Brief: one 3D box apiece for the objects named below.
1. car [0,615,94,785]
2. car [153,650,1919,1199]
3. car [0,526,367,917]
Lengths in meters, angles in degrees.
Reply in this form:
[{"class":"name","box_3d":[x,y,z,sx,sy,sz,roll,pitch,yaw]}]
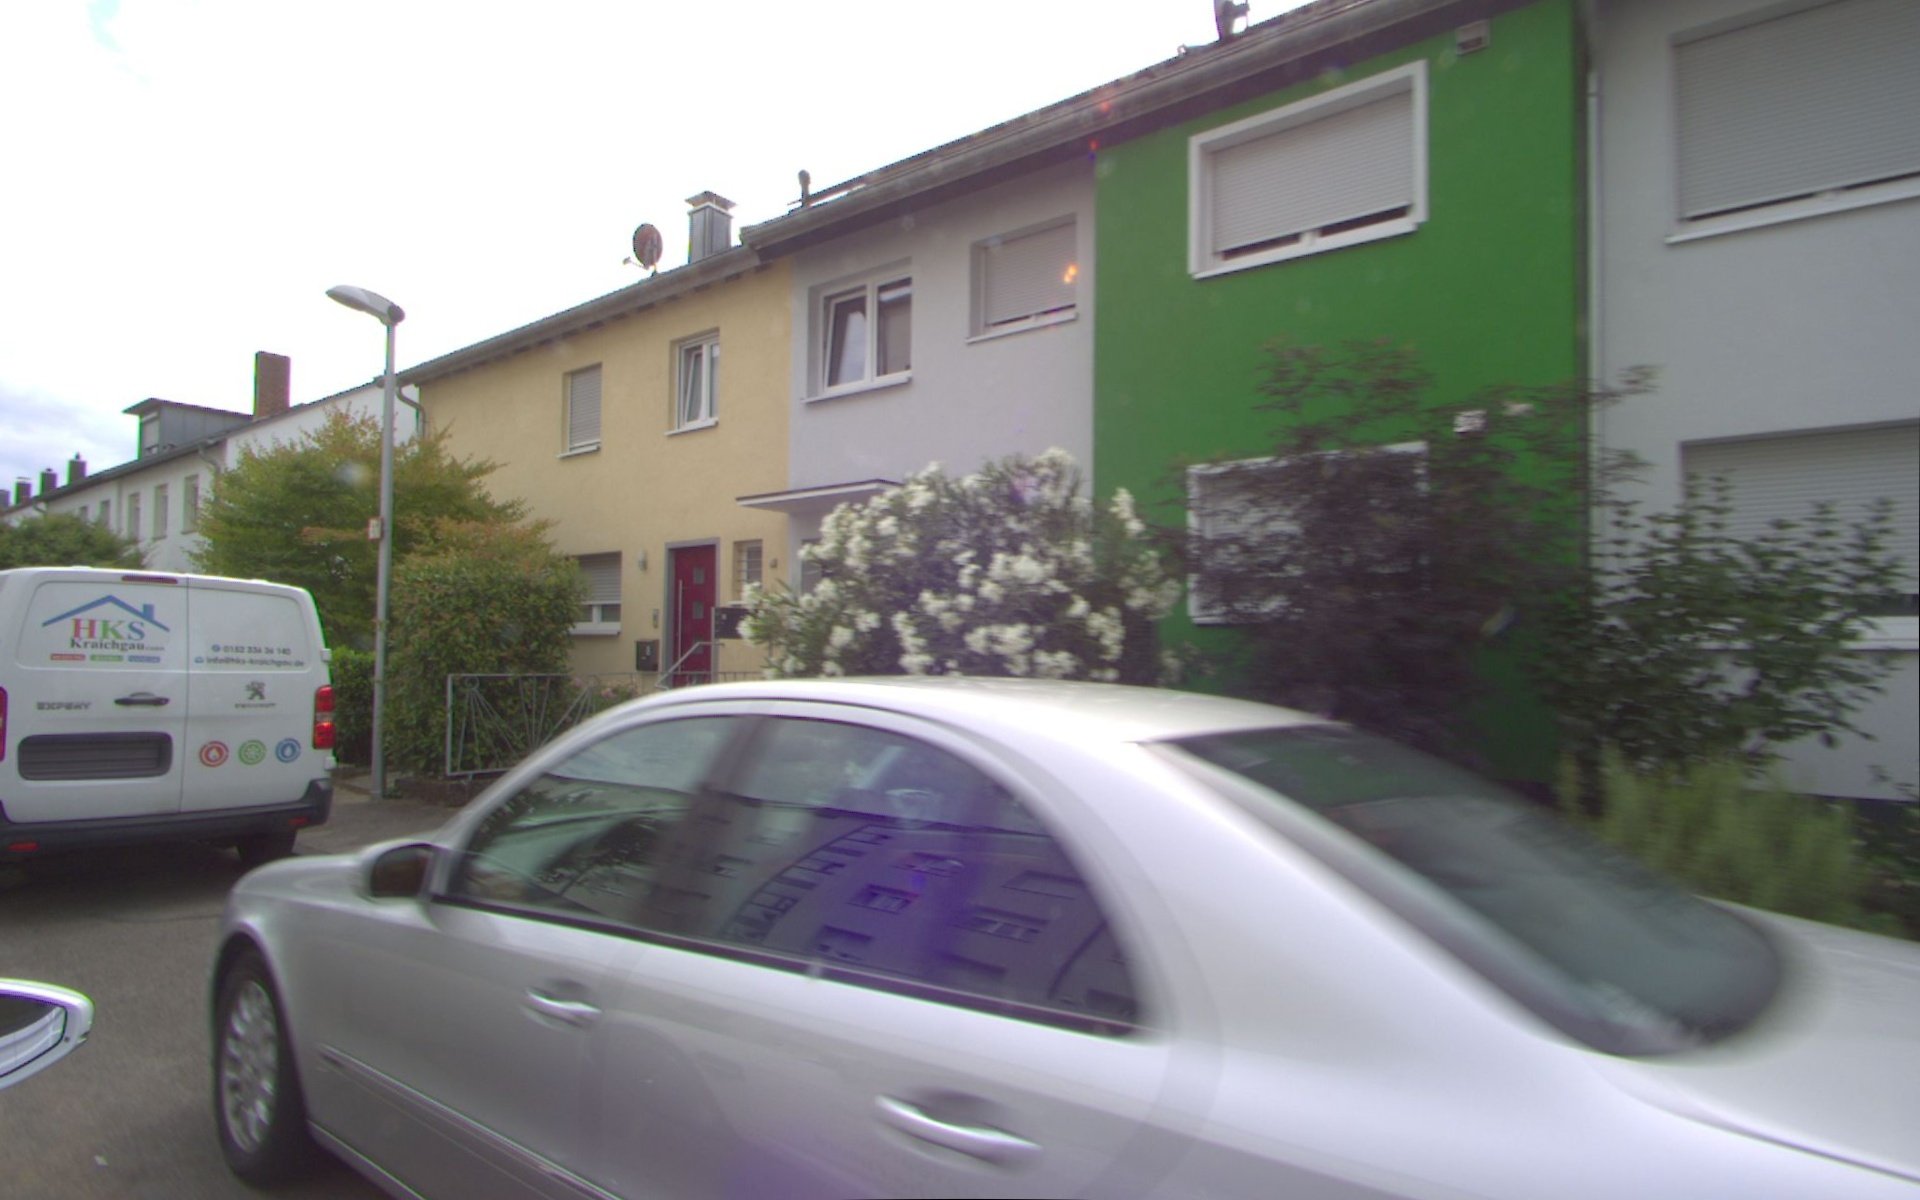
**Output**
[{"class":"car","box_3d":[-11.170,0.989,10.735,4.105,1.655,1.822,-1,-4,35]},{"class":"car","box_3d":[-0.306,0.897,2.534,4.401,1.438,1.778,-1,-4,39]},{"class":"car","box_3d":[-6.523,0.716,7.291,5.186,1.988,1.899,-1,-4,37]}]
